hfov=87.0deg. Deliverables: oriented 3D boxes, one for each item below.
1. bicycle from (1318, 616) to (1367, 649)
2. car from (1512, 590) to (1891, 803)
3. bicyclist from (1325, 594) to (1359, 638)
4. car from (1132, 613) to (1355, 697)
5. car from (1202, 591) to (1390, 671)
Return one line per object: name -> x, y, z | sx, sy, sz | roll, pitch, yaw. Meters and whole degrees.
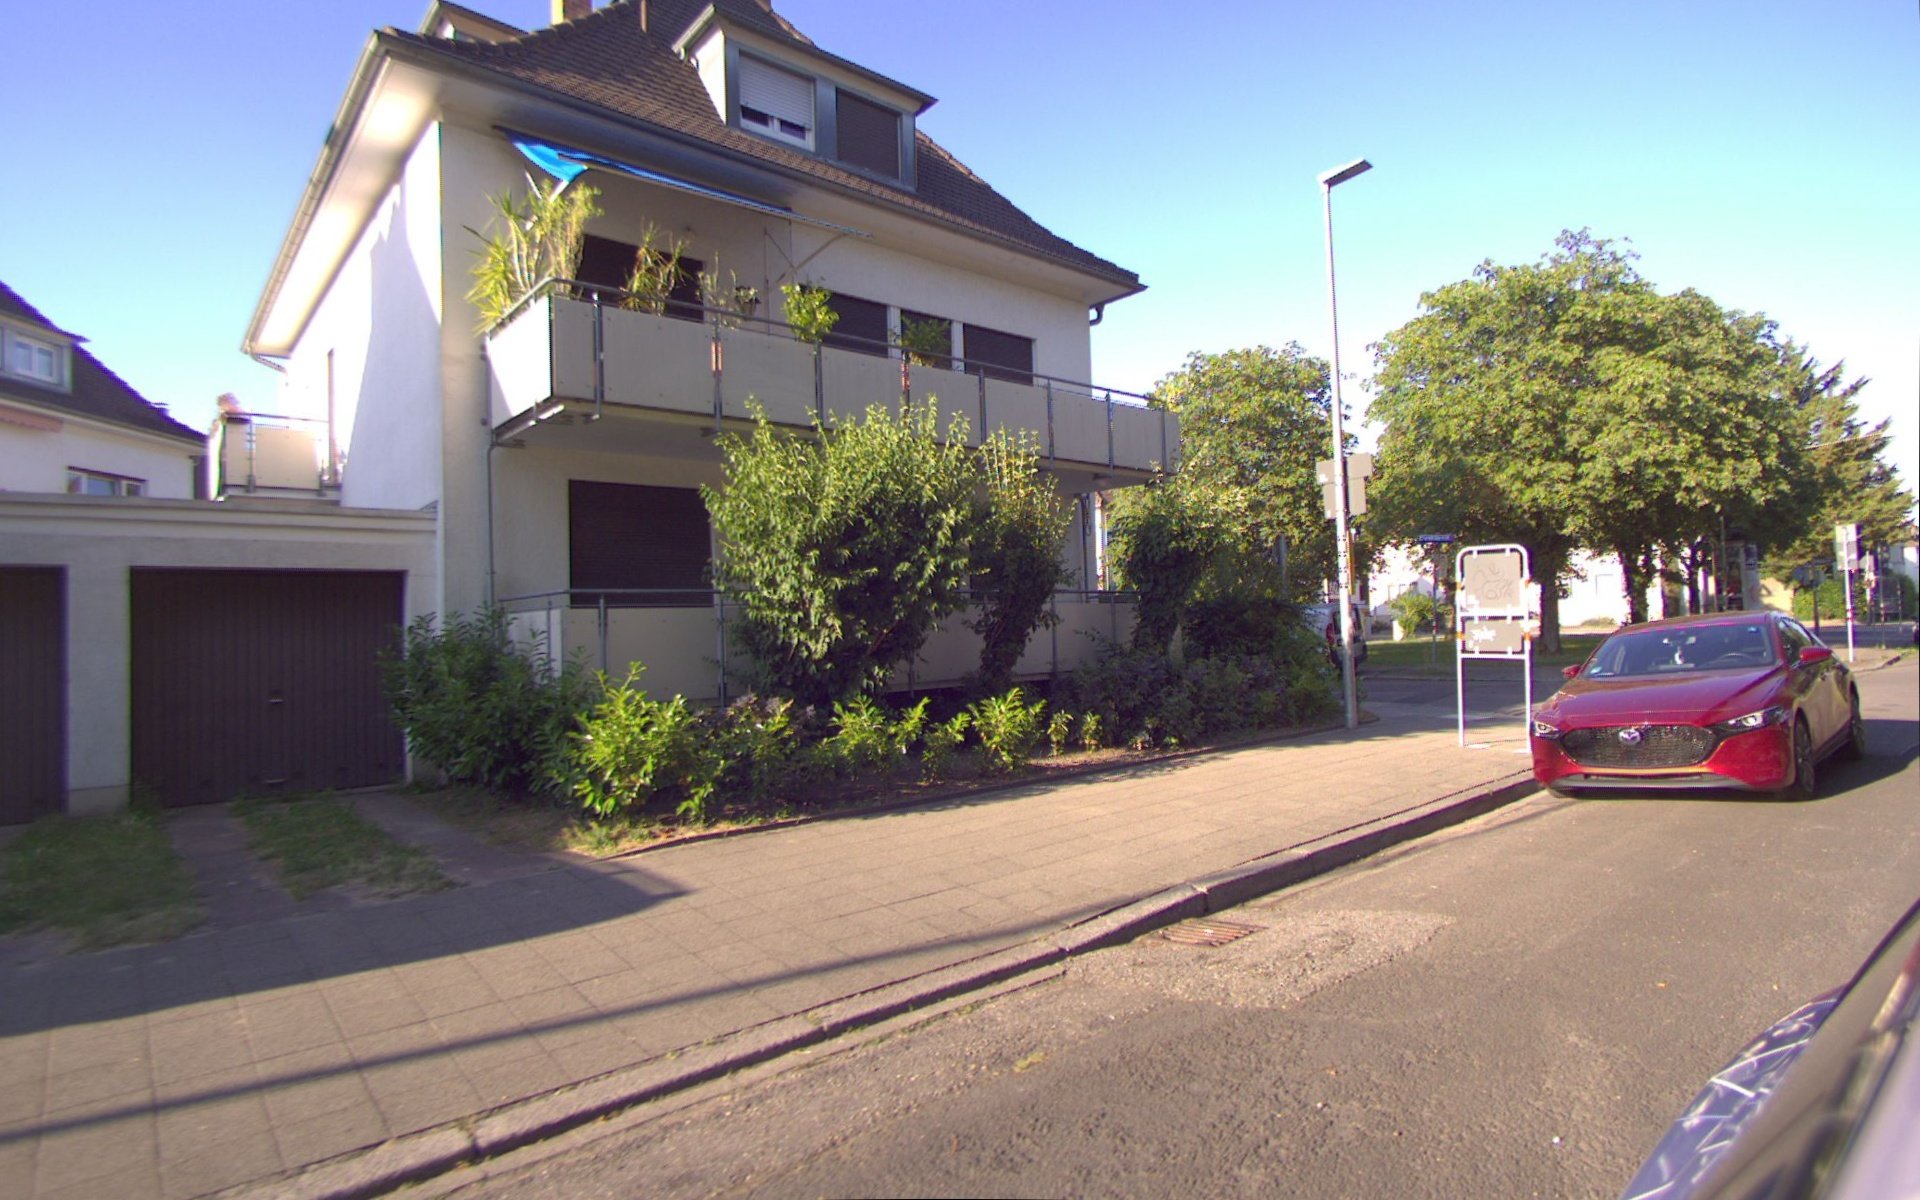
bicycle -> 15.827, 1.343, 41.875 | 1.866, 1.199, 0.575 | -3, -3, -17
car -> 6.640, 0.708, 8.891 | 4.130, 1.377, 1.711 | -2, -4, -41
bicyclist -> 15.814, 0.659, 41.901 | 0.875, 1.755, 0.818 | -3, -3, -17
car -> 5.569, 1.098, 20.252 | 1.686, 1.465, 3.992 | -2, -2, -41
car -> 8.823, 0.870, 26.878 | 1.995, 1.899, 4.247 | -2, -2, -40
